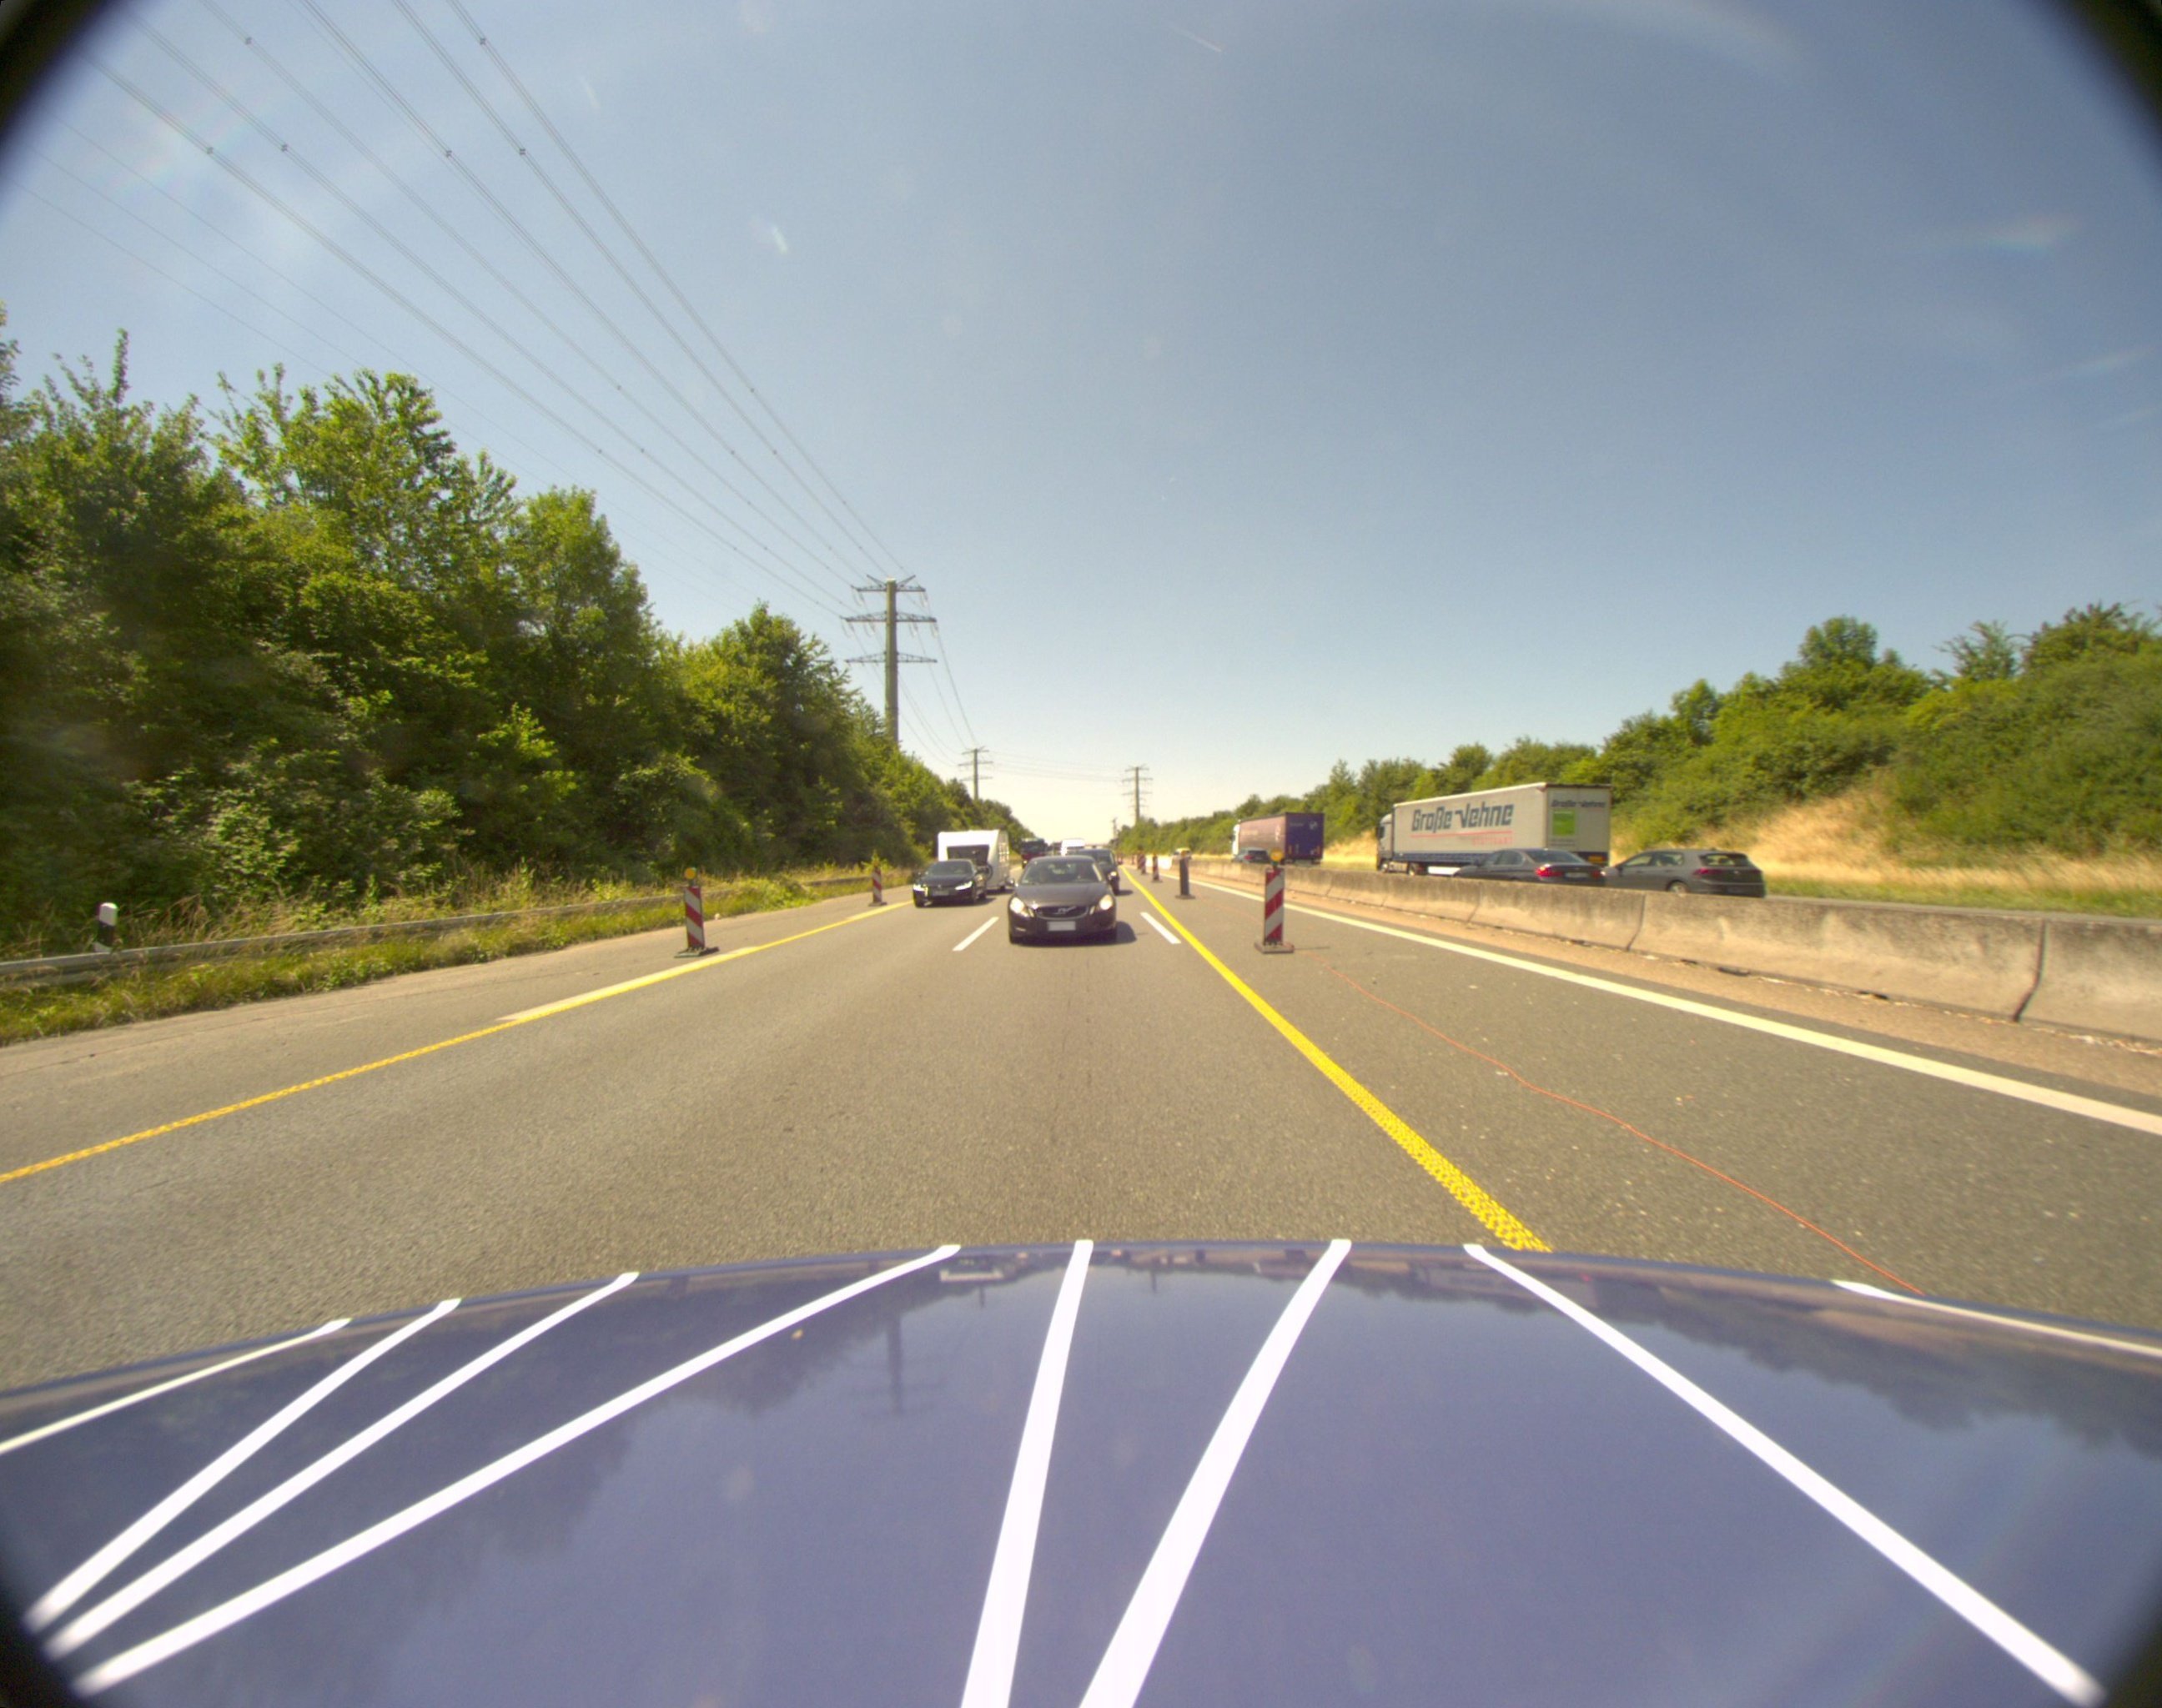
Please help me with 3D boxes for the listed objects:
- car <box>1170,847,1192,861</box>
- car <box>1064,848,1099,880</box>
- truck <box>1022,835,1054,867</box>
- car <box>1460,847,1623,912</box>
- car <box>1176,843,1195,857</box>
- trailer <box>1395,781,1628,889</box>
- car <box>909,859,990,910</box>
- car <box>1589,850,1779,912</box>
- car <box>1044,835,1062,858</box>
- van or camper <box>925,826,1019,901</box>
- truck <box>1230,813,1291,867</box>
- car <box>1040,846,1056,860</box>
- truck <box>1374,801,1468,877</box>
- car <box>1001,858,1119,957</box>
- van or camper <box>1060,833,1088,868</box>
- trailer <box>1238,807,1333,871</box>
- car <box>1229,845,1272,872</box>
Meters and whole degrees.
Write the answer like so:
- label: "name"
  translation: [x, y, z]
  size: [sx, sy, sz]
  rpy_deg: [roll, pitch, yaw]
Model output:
- label: "car"
  translation: [10.540, 0.003, 80.144]
  size: [1.767, 1.463, 4.633]
  rpy_deg: [-1, 1, 1]
- label: "car"
  translation: [0.074, 0.520, 42.402]
  size: [1.744, 1.659, 4.157]
  rpy_deg: [-2, 0, 2]
- label: "truck"
  translation: [-4.517, -0.332, 80.764]
  size: [2.431, 3.122, 7.648]
  rpy_deg: [-4, 0, 2]
- label: "car"
  translation: [11.320, 0.559, 19.034]
  size: [1.620, 1.434, 3.988]
  rpy_deg: [-1, 1, -1]
- label: "car"
  translation: [14.068, -0.564, 102.202]
  size: [1.871, 1.782, 5.454]
  rpy_deg: [-1, 1, 1]
- label: "trailer"
  translation: [19.174, -0.778, 35.687]
  size: [2.961, 4.038, 13.635]
  rpy_deg: [1, 0, -1]
- label: "car"
  translation: [-4.128, 0.911, 24.548]
  size: [1.800, 1.399, 4.209]
  rpy_deg: [-2, 1, 0]
- label: "car"
  translation: [15.189, 0.615, 19.453]
  size: [1.507, 1.388, 4.088]
  rpy_deg: [-1, 1, -2]
- label: "car"
  translation: [-5.065, -1.359, 138.124]
  size: [2.397, 3.779, 10.272]
  rpy_deg: [-3, 1, 1]
- label: "van or camper"
  translation: [-4.179, 0.294, 30.899]
  size: [2.432, 2.549, 8.416]
  rpy_deg: [-2, 1, 0]
- label: "truck"
  translation: [14.634, -1.102, 62.484]
  size: [3.172, 4.200, 7.413]
  rpy_deg: [0, 0, -1]
- label: "car"
  translation: [-4.525, -0.110, 105.307]
  size: [1.850, 1.810, 3.925]
  rpy_deg: [-3, 1, 1]
- label: "truck"
  translation: [19.101, -0.820, 43.051]
  size: [2.953, 4.053, 5.195]
  rpy_deg: [0, 1, -1]
- label: "car"
  translation: [-0.315, 0.855, 13.918]
  size: [1.798, 1.433, 4.000]
  rpy_deg: [-2, 0, 1]
- label: "van or camper"
  translation: [-0.487, -0.296, 58.916]
  size: [1.998, 2.604, 5.629]
  rpy_deg: [0, 0, 1]
- label: "trailer"
  translation: [14.732, -1.047, 56.271]
  size: [3.168, 4.156, 13.681]
  rpy_deg: [-1, 1, -1]
- label: "car"
  translation: [11.133, 0.286, 50.123]
  size: [1.846, 1.705, 4.395]
  rpy_deg: [-1, 1, 0]
